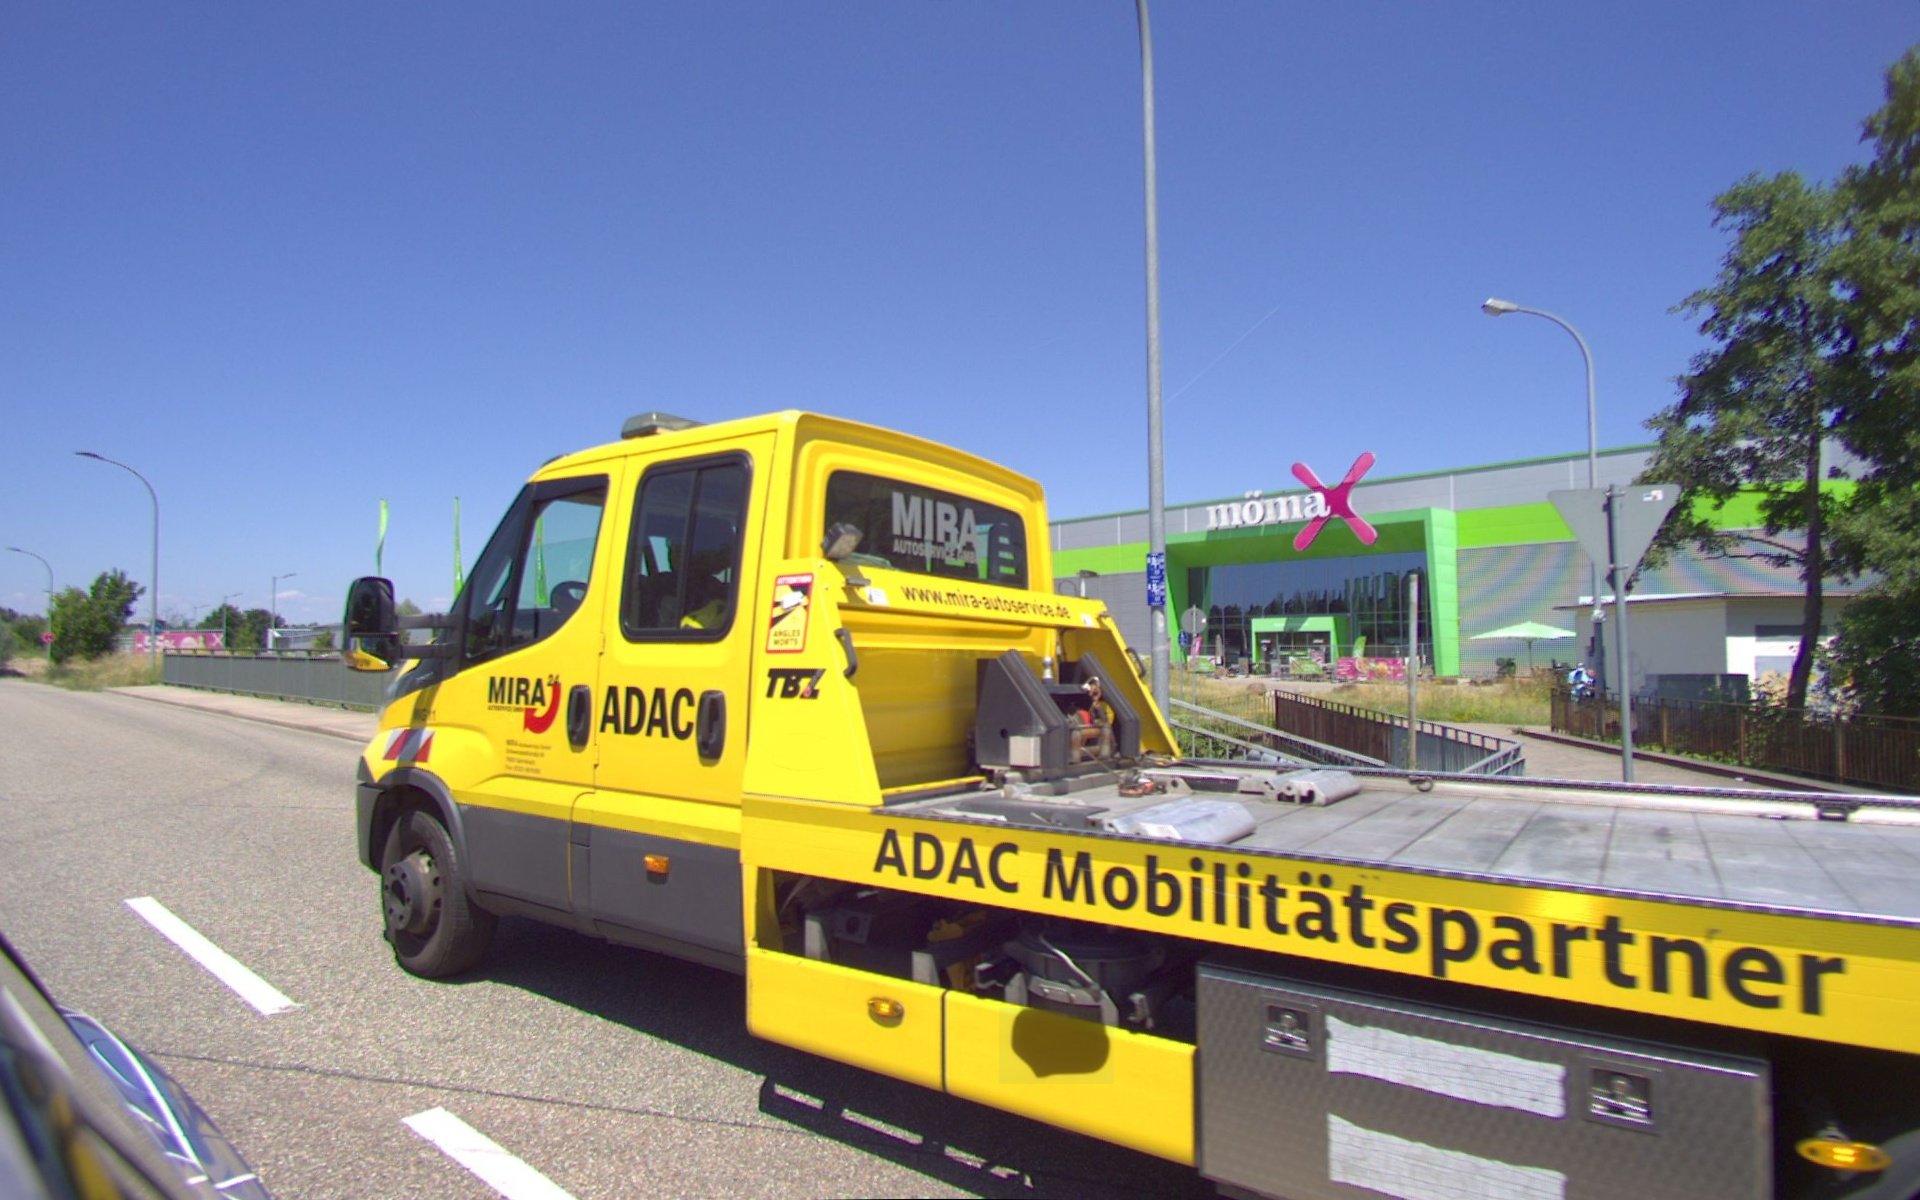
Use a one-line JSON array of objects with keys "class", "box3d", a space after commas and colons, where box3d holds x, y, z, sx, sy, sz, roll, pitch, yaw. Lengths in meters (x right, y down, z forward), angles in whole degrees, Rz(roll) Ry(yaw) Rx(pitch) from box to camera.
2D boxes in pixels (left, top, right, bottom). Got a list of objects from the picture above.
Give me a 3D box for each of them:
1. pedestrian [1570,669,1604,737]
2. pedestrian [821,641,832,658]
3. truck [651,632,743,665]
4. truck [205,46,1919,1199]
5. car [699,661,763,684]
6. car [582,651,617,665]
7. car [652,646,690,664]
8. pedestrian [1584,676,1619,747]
[{"class": "pedestrian", "box3d": [16.084, 2.634, 25.977, 0.624, 1.686, 0.511, -1, -1, 21]}, {"class": "pedestrian", "box3d": [-12.195, 4.527, 92.543, 0.766, 1.463, 0.630, -4, -3, 43]}, {"class": "truck", "box3d": [-23.332, 4.346, 90.190, 7.652, 2.704, 2.967, -1, -3, -9]}, {"class": "truck", "box3d": [0.873, 0.438, 3.191, 9.027, 2.355, 2.291, -1, -4, 34]}, {"class": "car", "box3d": [-16.003, 5.053, 70.756, 3.941, 1.448, 1.847, 0, -3, -44]}, {"class": "car", "box3d": [-48.098, 7.741, 135.100, 3.939, 1.752, 2.002, 0, -2, -42]}, {"class": "car", "box3d": [-34.452, 6.535, 120.722, 3.935, 2.029, 1.915, 0, -3, -37]}, {"class": "pedestrian", "box3d": [16.062, 2.774, 25.345, 0.594, 1.686, 0.624, -1, -1, 21]}]
